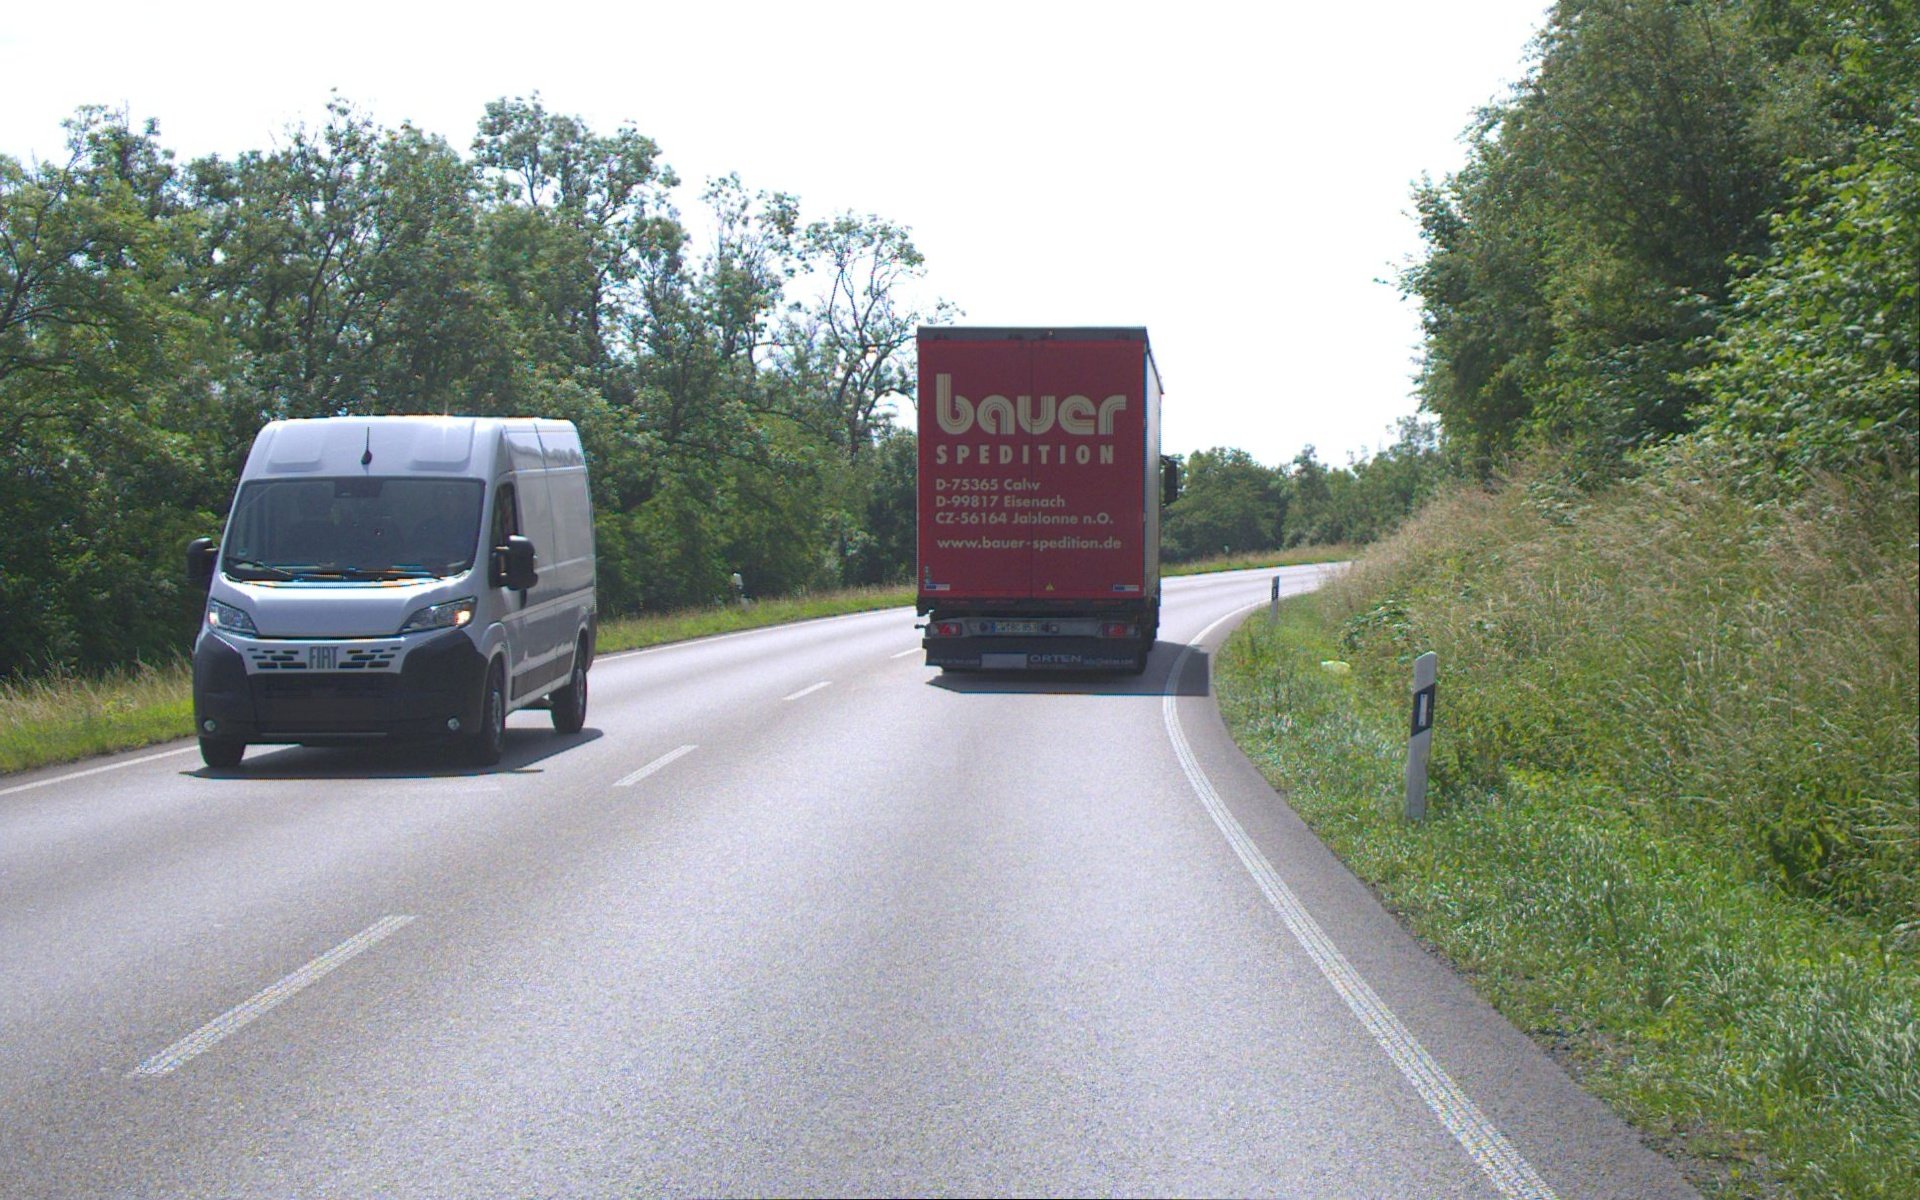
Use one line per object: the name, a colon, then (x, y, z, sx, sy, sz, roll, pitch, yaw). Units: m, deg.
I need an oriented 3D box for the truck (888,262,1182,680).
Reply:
truck: (0.981, -1.514, 43.538, 3.112, 4.490, 12.167, 1, 1, 2)

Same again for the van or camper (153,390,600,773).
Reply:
van or camper: (-4.190, -0.170, 25.840, 2.208, 2.519, 6.133, 0, 1, 1)
